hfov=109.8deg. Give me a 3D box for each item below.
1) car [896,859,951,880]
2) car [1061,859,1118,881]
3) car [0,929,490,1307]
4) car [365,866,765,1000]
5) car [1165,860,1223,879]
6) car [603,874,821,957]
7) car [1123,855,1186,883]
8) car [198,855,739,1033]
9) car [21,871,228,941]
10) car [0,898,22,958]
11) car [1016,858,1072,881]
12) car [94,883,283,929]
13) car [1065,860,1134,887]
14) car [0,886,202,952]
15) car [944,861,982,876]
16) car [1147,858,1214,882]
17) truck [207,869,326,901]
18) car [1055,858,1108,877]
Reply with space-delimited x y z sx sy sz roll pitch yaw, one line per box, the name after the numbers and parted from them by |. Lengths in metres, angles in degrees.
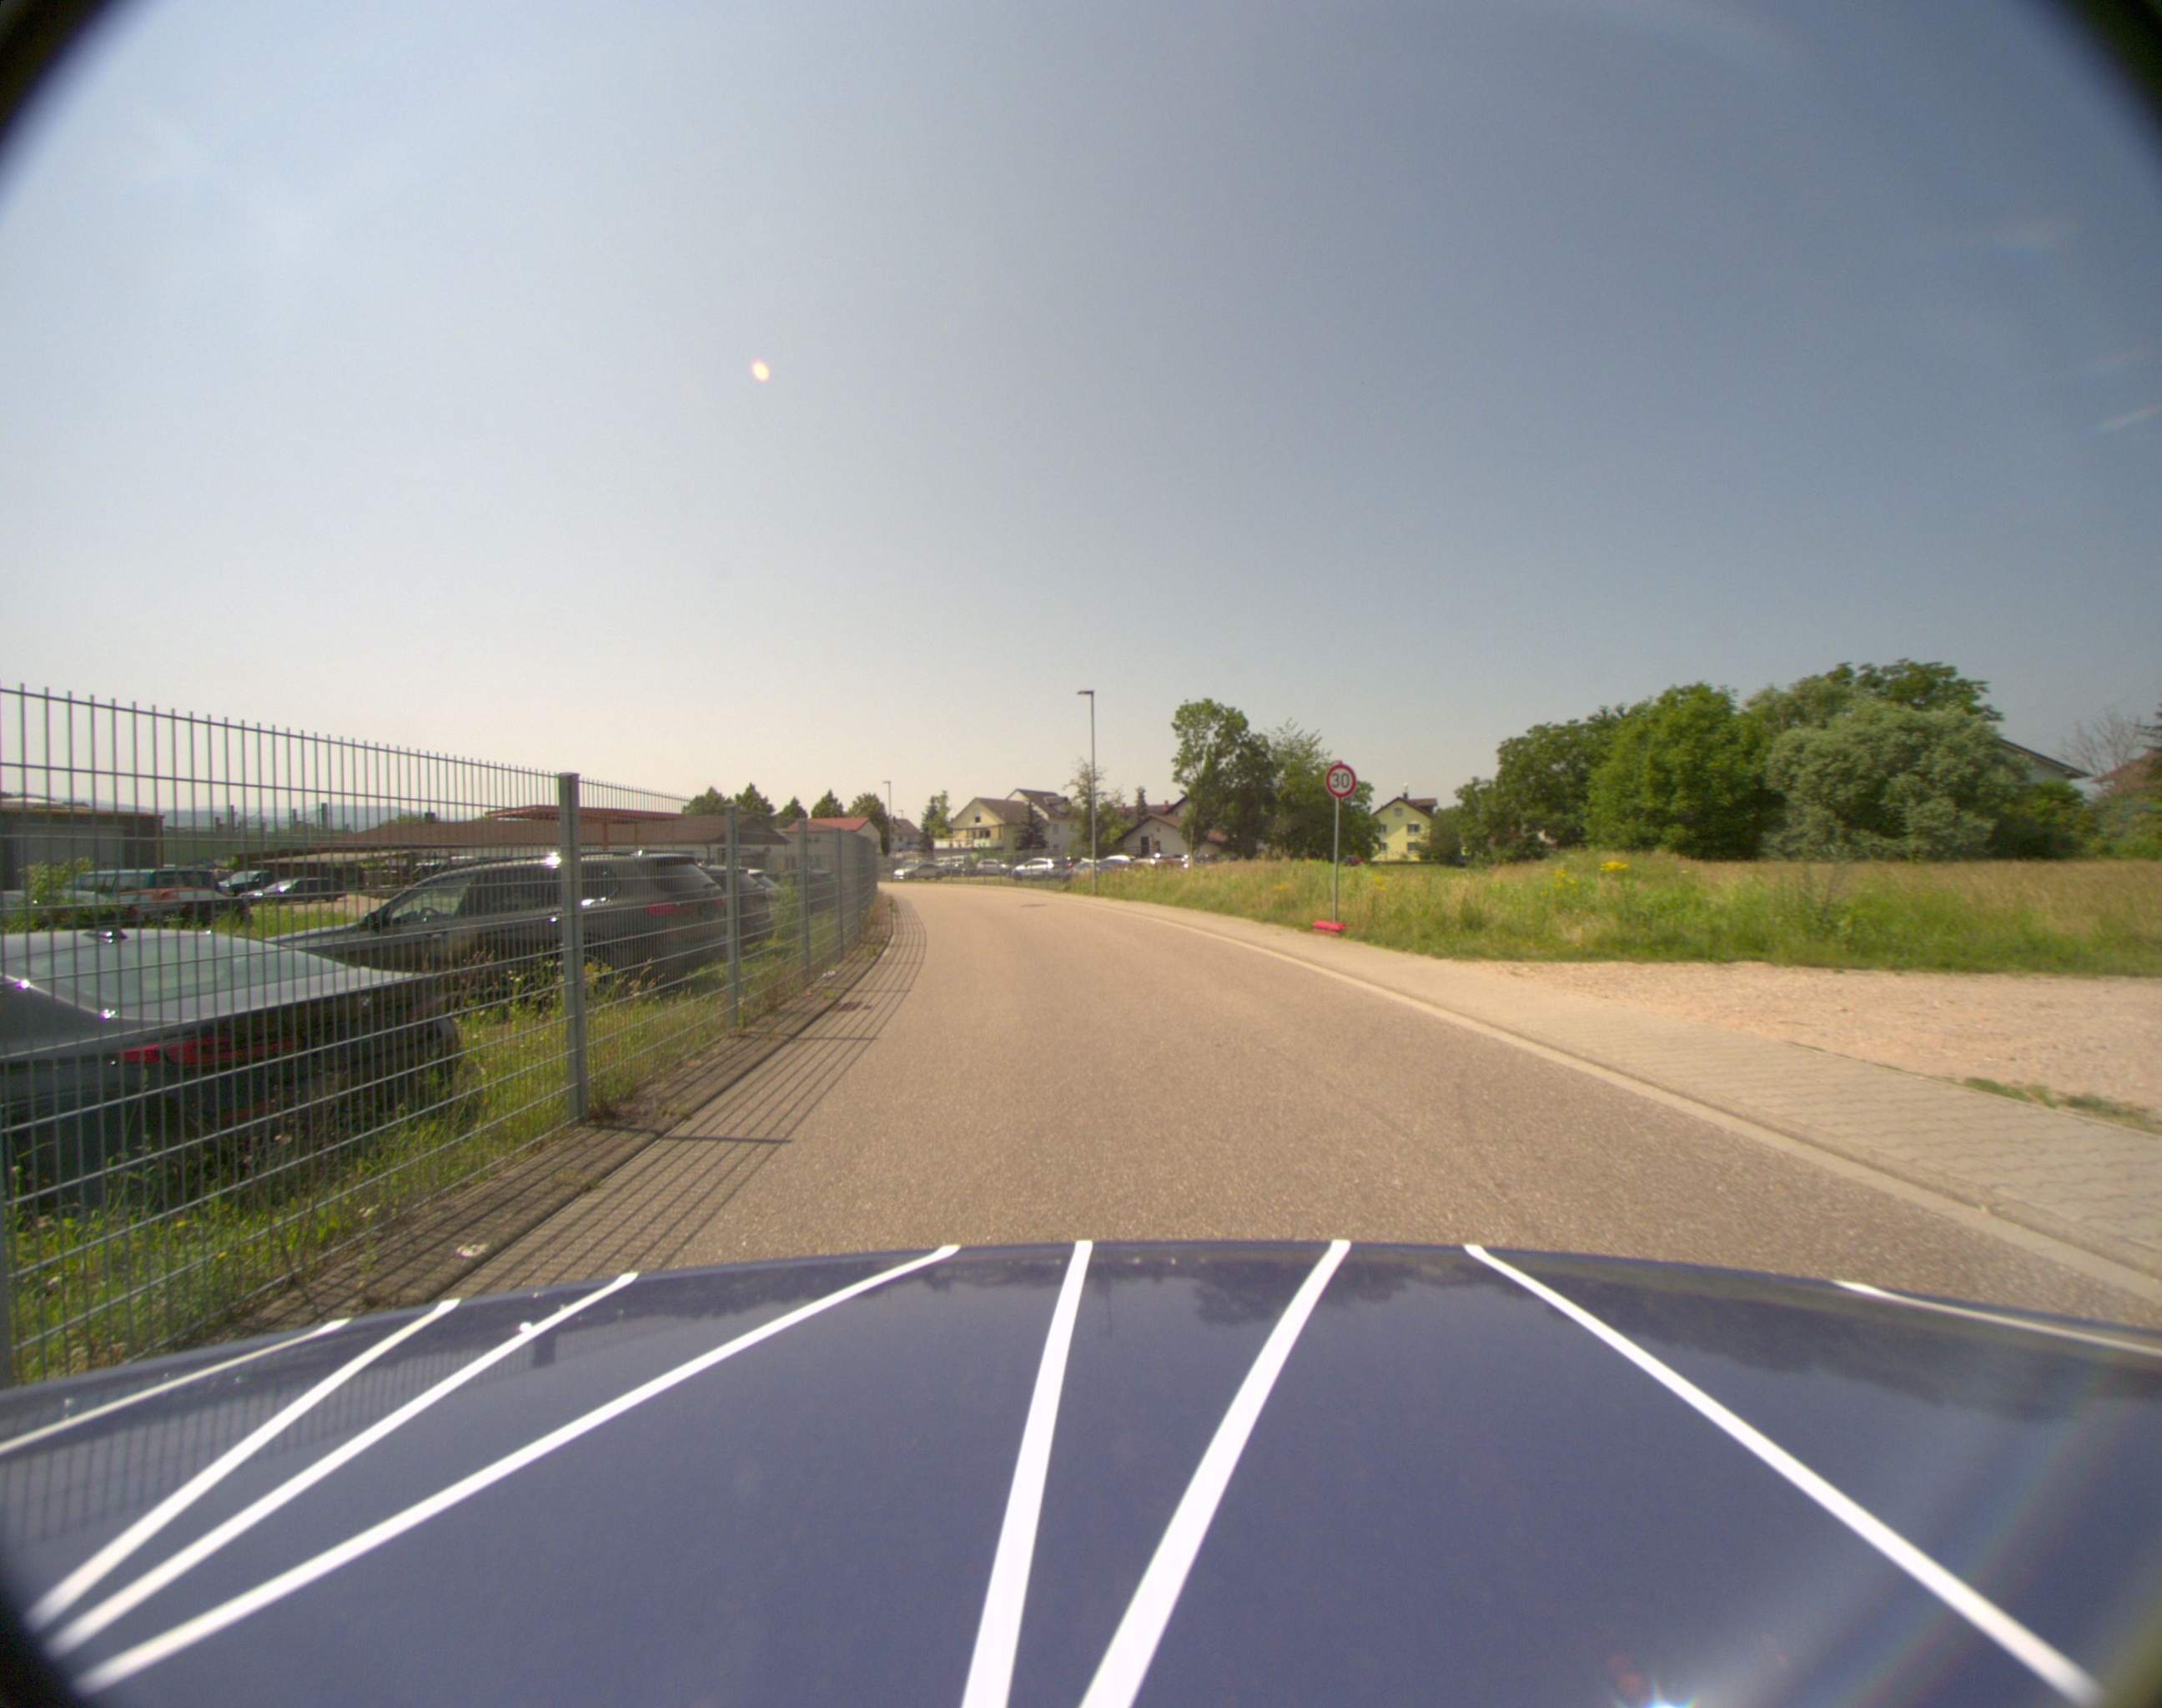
-13.487 1.306 65.120 4.398 1.561 1.822 -2 1 -21 | car
0.540 1.044 49.618 3.452 1.411 1.585 -1 0 37 | car
-6.082 1.287 4.055 4.475 1.373 1.723 -3 0 2 | car
-6.946 1.010 10.674 4.309 1.594 1.691 -1 0 -9 | car
8.304 1.109 55.997 3.735 1.309 1.824 -1 1 38 | car
-6.985 1.132 14.684 3.477 1.409 1.515 -1 0 -8 | car
4.407 0.904 46.024 3.452 1.574 1.585 -1 0 37 | car
-6.763 0.925 8.879 4.700 1.758 1.741 -1 0 -6 | car
-28.578 1.523 22.771 4.384 1.970 1.843 -1 0 8 | car
-24.034 1.530 14.967 4.384 1.198 1.843 -1 0 8 | car
-2.514 1.033 51.799 3.636 1.481 1.585 -1 0 37 | car
-23.628 1.352 20.178 3.370 1.102 1.673 -1 0 8 | car
0.953 1.045 41.838 1.585 1.326 4.393 -1 0 -32 | car
-23.035 1.448 17.296 4.384 1.337 1.843 -1 0 8 | car
-12.250 1.479 78.550 3.673 1.455 1.824 -1 1 38 | car
6.647 1.050 50.884 3.989 1.489 2.004 -1 0 37 | car
-51.981 1.952 48.667 2.057 1.787 4.805 -1 0 10 | truck
-0.003 1.087 62.999 3.989 1.489 2.004 -1 0 37 | car
